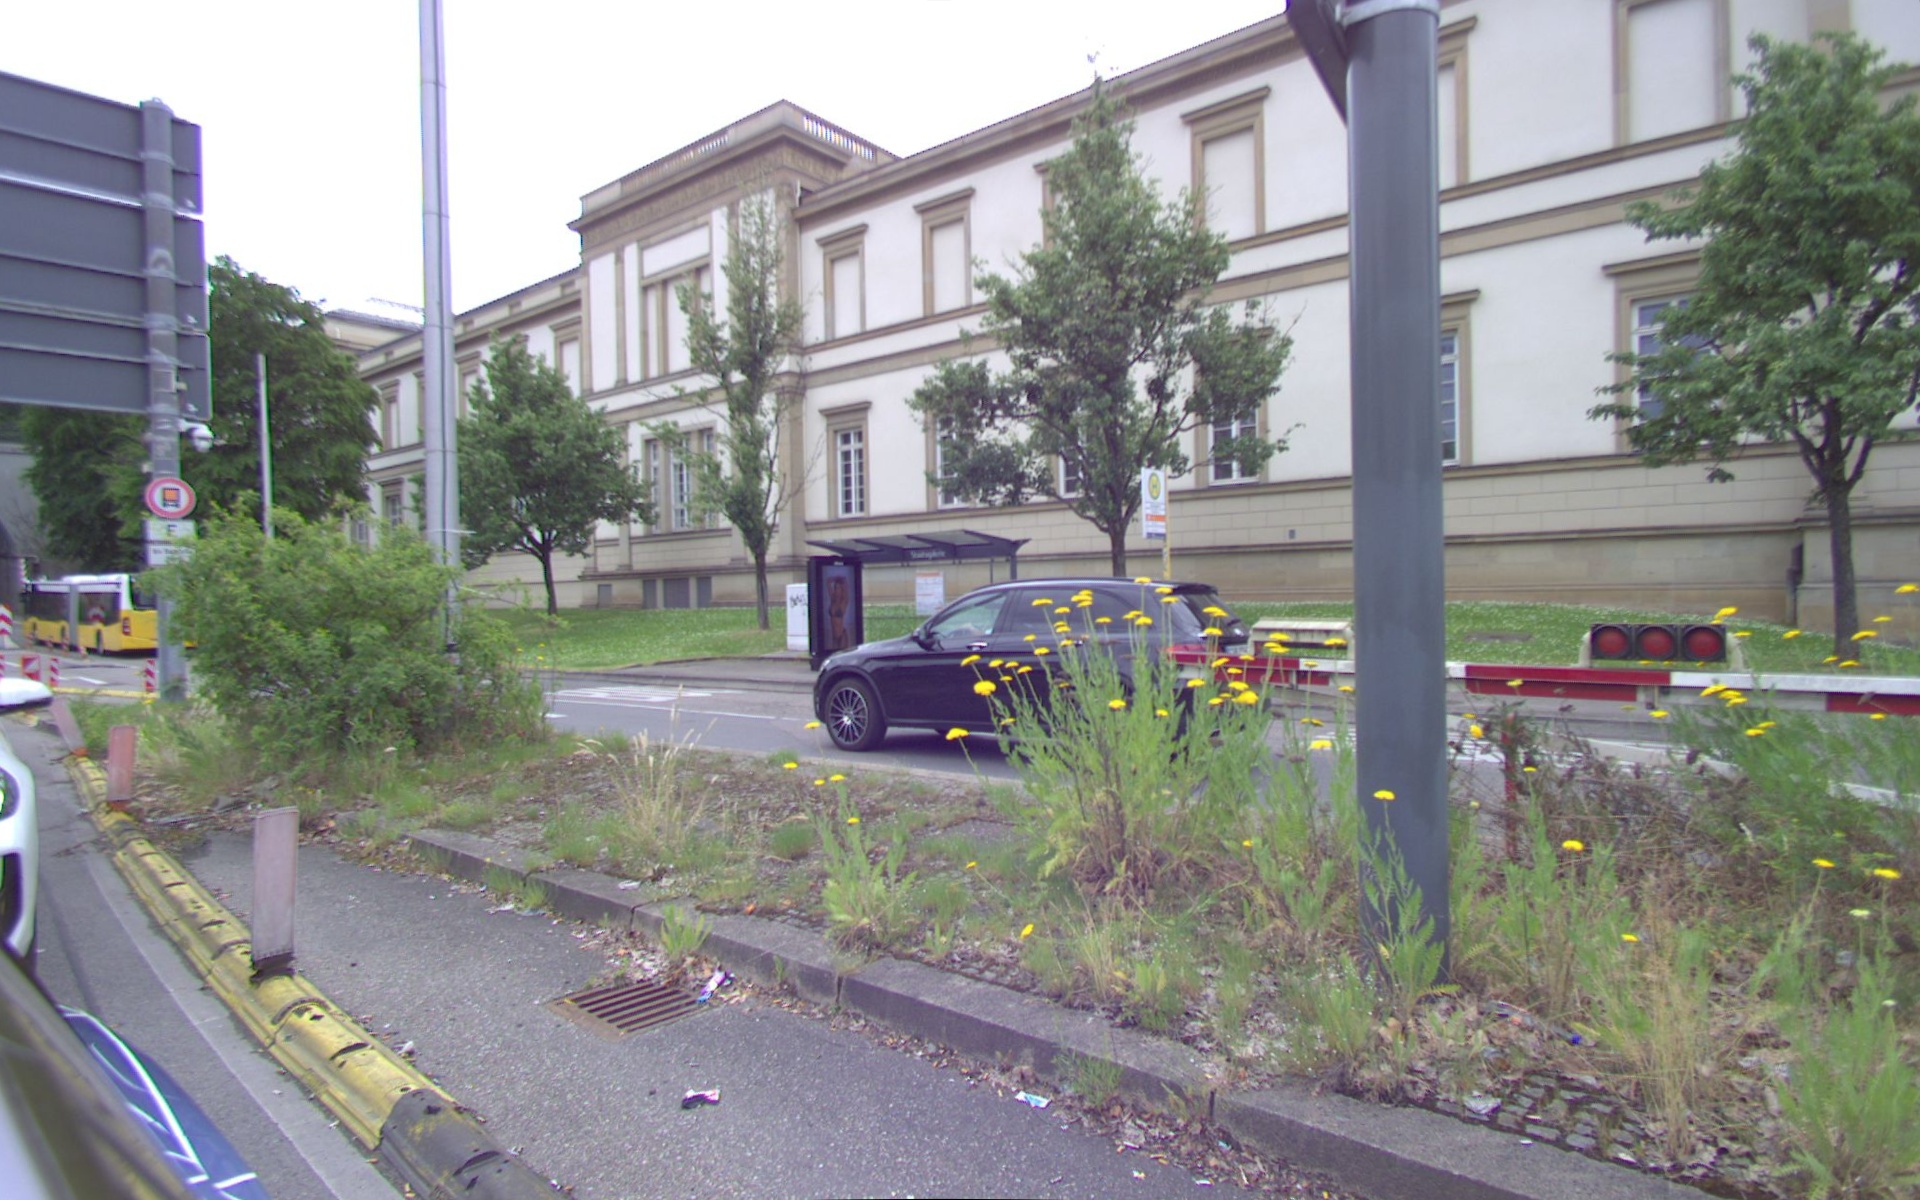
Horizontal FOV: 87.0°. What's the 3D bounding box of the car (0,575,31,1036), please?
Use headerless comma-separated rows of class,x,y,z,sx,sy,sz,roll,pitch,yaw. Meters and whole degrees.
car,-5.230,0.723,4.196,3.911,1.568,1.733,-1,0,43

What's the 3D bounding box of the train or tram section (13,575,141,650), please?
train or tram section,-39.821,0.636,45.507,9.364,3.094,2.668,-1,-2,38

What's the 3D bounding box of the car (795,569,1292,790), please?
car,0.660,0.607,9.566,4.362,1.638,1.863,-1,0,36

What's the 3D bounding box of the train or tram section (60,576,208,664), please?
train or tram section,-32.515,0.820,39.647,9.326,3.094,2.667,-2,-2,39
